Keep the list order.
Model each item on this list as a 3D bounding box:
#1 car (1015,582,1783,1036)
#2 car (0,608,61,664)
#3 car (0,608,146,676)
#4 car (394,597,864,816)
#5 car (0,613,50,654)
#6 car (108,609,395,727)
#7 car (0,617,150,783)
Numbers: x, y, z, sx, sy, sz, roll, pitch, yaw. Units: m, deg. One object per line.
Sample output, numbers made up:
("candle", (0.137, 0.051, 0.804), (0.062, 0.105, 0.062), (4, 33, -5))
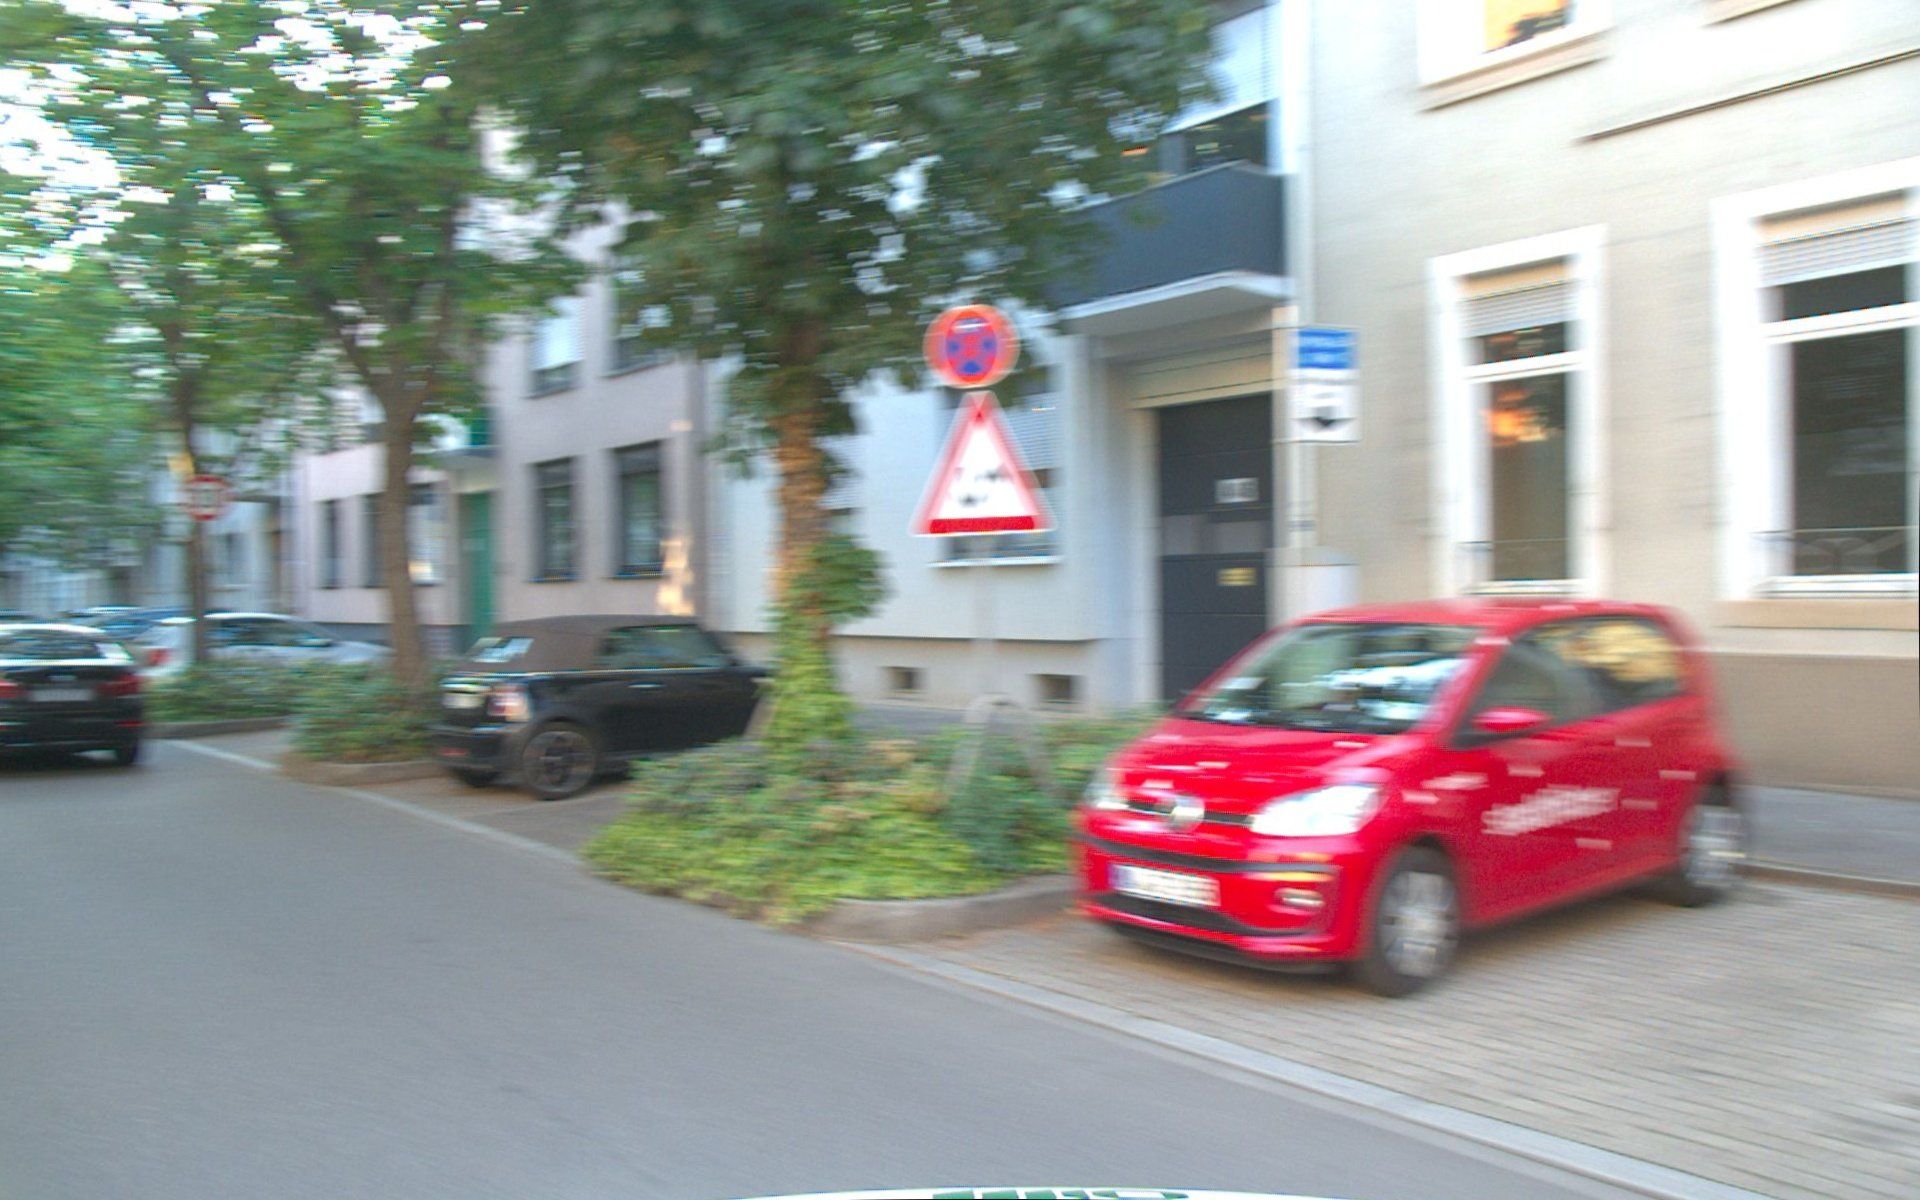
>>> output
("car", (2.124, 0.718, 7.507), (3.633, 1.501, 1.543), (-2, 1, -40))
("car", (-28.196, 1.048, 47.823), (3.633, 1.563, 1.543), (-1, 0, -40))
("car", (-22.341, 1.019, 40.834), (3.768, 1.556, 1.543), (-1, 0, -40))
("car", (-2.783, 0.811, 14.388), (3.685, 1.452, 1.602), (-4, 2, -42))
("car", (-34.237, 1.203, 58.267), (3.633, 1.417, 1.543), (-1, 0, -40))
("car", (-10.487, 0.953, 24.602), (3.634, 1.505, 1.543), (-2, 1, -40))
("car", (-10.011, 0.935, 16.964), (1.754, 1.475, 4.592), (-1, 0, -44))
